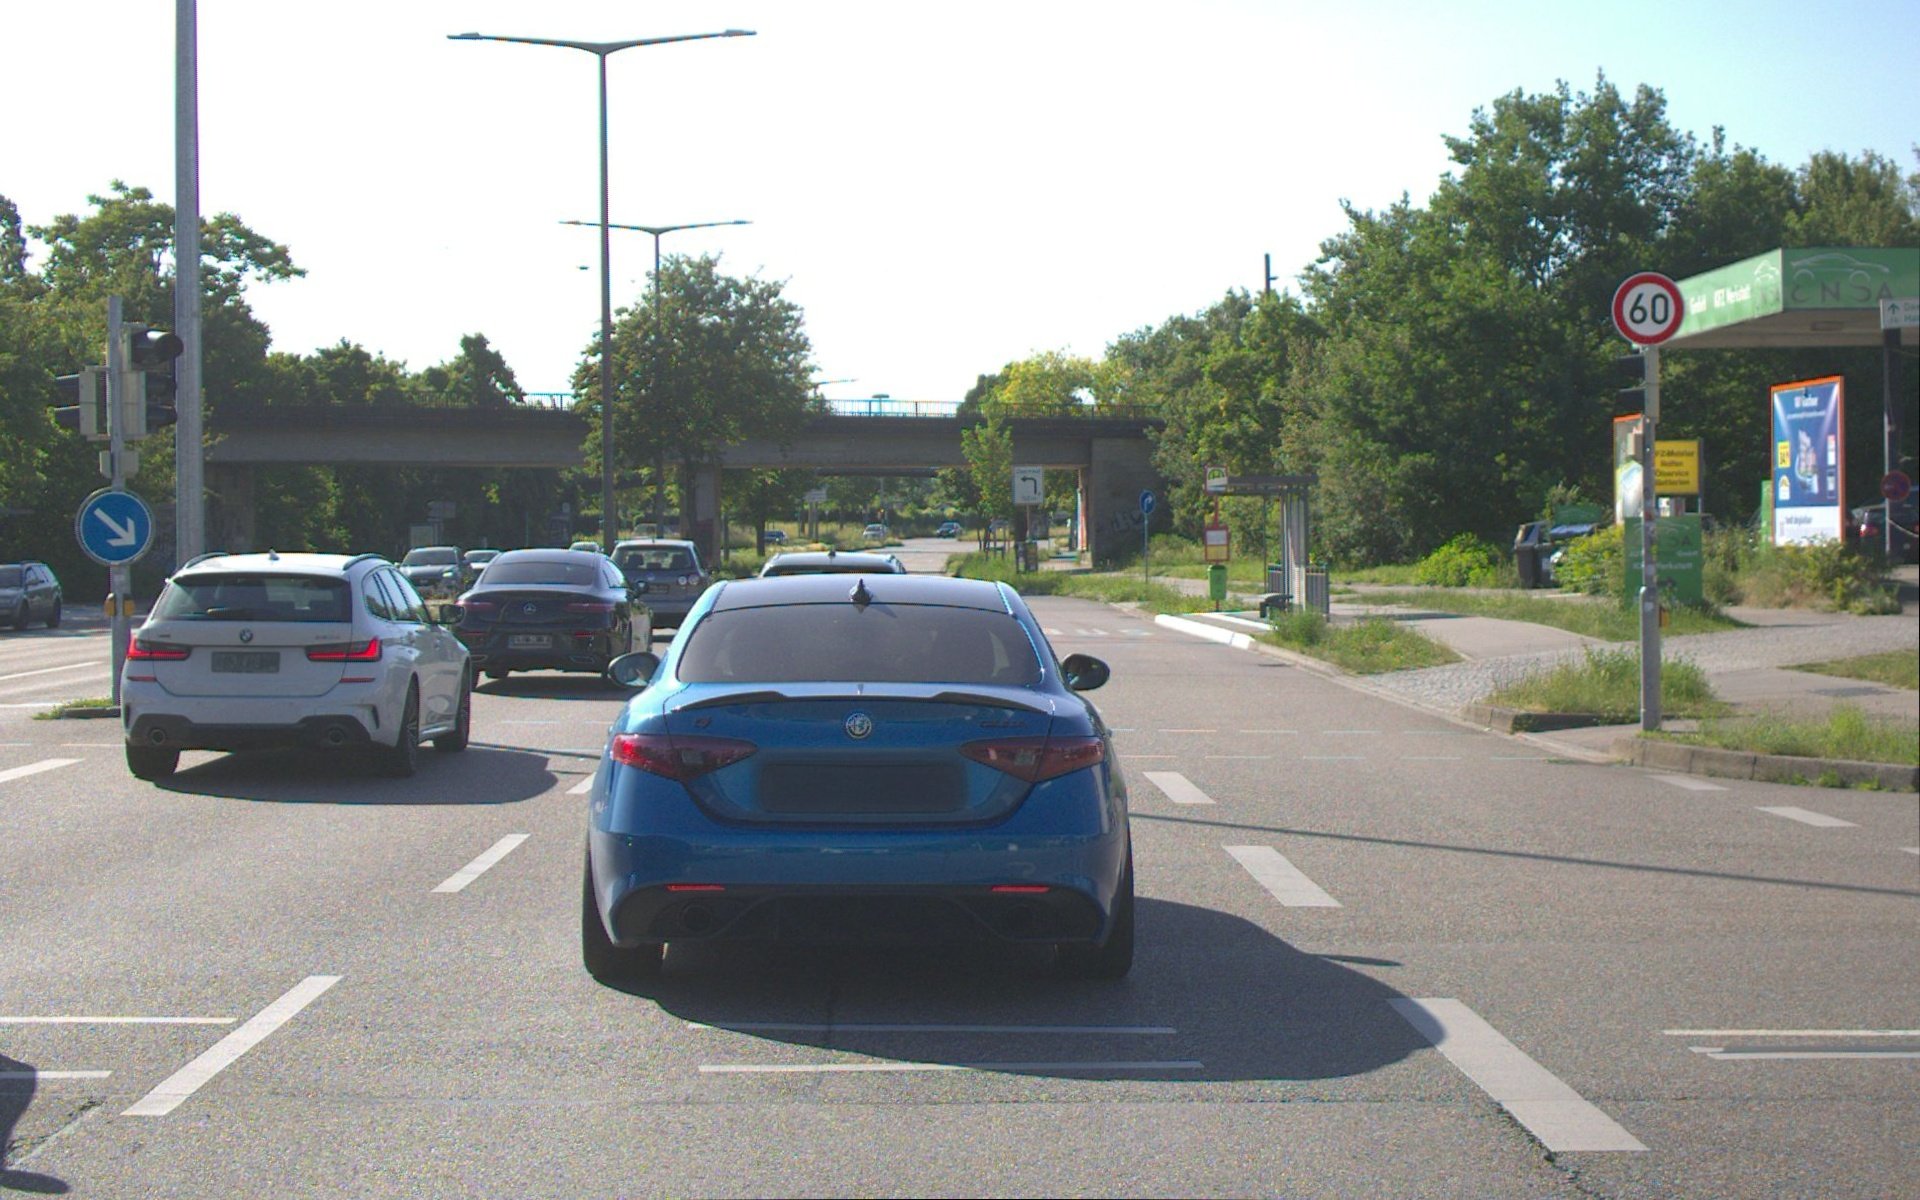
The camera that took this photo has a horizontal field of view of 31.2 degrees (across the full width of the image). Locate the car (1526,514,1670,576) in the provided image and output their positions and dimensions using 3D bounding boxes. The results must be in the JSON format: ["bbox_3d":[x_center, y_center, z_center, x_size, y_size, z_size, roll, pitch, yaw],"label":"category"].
[{"bbox_3d":[16.024,-1.379,86.427,3.284,1.481,1.772,1,1,1],"label":"car"}]

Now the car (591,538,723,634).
[{"bbox_3d":[-4.812,-0.246,55.043,1.779,1.449,4.182,-1,1,-1],"label":"car"}]

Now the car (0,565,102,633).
[{"bbox_3d":[-20.433,-0.027,73.670,1.995,1.371,4.620,-1,1,15],"label":"car"}]

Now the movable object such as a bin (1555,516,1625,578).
[{"bbox_3d":[14.732,-1.244,80.438,0.986,1.423,1.260,-1,2,-43],"label":"movable object such as a bin"}]

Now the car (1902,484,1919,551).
[{"bbox_3d":[23.662,-1.944,81.058,1.713,1.601,4.136,1,1,-1],"label":"car"}]

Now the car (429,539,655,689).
[{"bbox_3d":[-4.336,0.106,36.273,1.883,1.449,4.526,1,1,-1],"label":"car"}]

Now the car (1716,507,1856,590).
[{"bbox_3d":[16.231,-1.023,67.754,1.744,1.567,4.249,-1,1,0],"label":"car"}]

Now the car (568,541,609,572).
[{"bbox_3d":[-18.423,-2.149,170.581,1.641,1.446,4.112,-3,1,-1],"label":"car"}]

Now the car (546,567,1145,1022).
[{"bbox_3d":[-0.396,0.600,13.045,1.883,1.401,4.224,1,1,-1],"label":"car"}]

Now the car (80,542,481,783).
[{"bbox_3d":[-4.496,0.354,23.409,1.883,1.449,4.526,1,1,-1],"label":"car"}]

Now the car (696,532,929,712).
[{"bbox_3d":[-1.241,0.150,30.388,1.883,1.449,4.526,1,1,-1],"label":"car"}]

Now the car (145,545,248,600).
[{"bbox_3d":[-21.410,-0.787,96.541,1.993,1.469,4.196,-1,1,-1],"label":"car"}]

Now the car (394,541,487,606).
[{"bbox_3d":[-13.857,-0.731,91.895,1.874,1.636,4.171,-2,1,-1],"label":"car"}]

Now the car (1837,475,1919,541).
[{"bbox_3d":[23.846,-2.317,84.629,4.037,1.526,1.734,-3,1,1],"label":"car"}]

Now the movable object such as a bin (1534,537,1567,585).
[{"bbox_3d":[13.942,-0.928,81.192,0.580,1.117,0.510,-1,1,-42],"label":"movable object such as a bin"}]
